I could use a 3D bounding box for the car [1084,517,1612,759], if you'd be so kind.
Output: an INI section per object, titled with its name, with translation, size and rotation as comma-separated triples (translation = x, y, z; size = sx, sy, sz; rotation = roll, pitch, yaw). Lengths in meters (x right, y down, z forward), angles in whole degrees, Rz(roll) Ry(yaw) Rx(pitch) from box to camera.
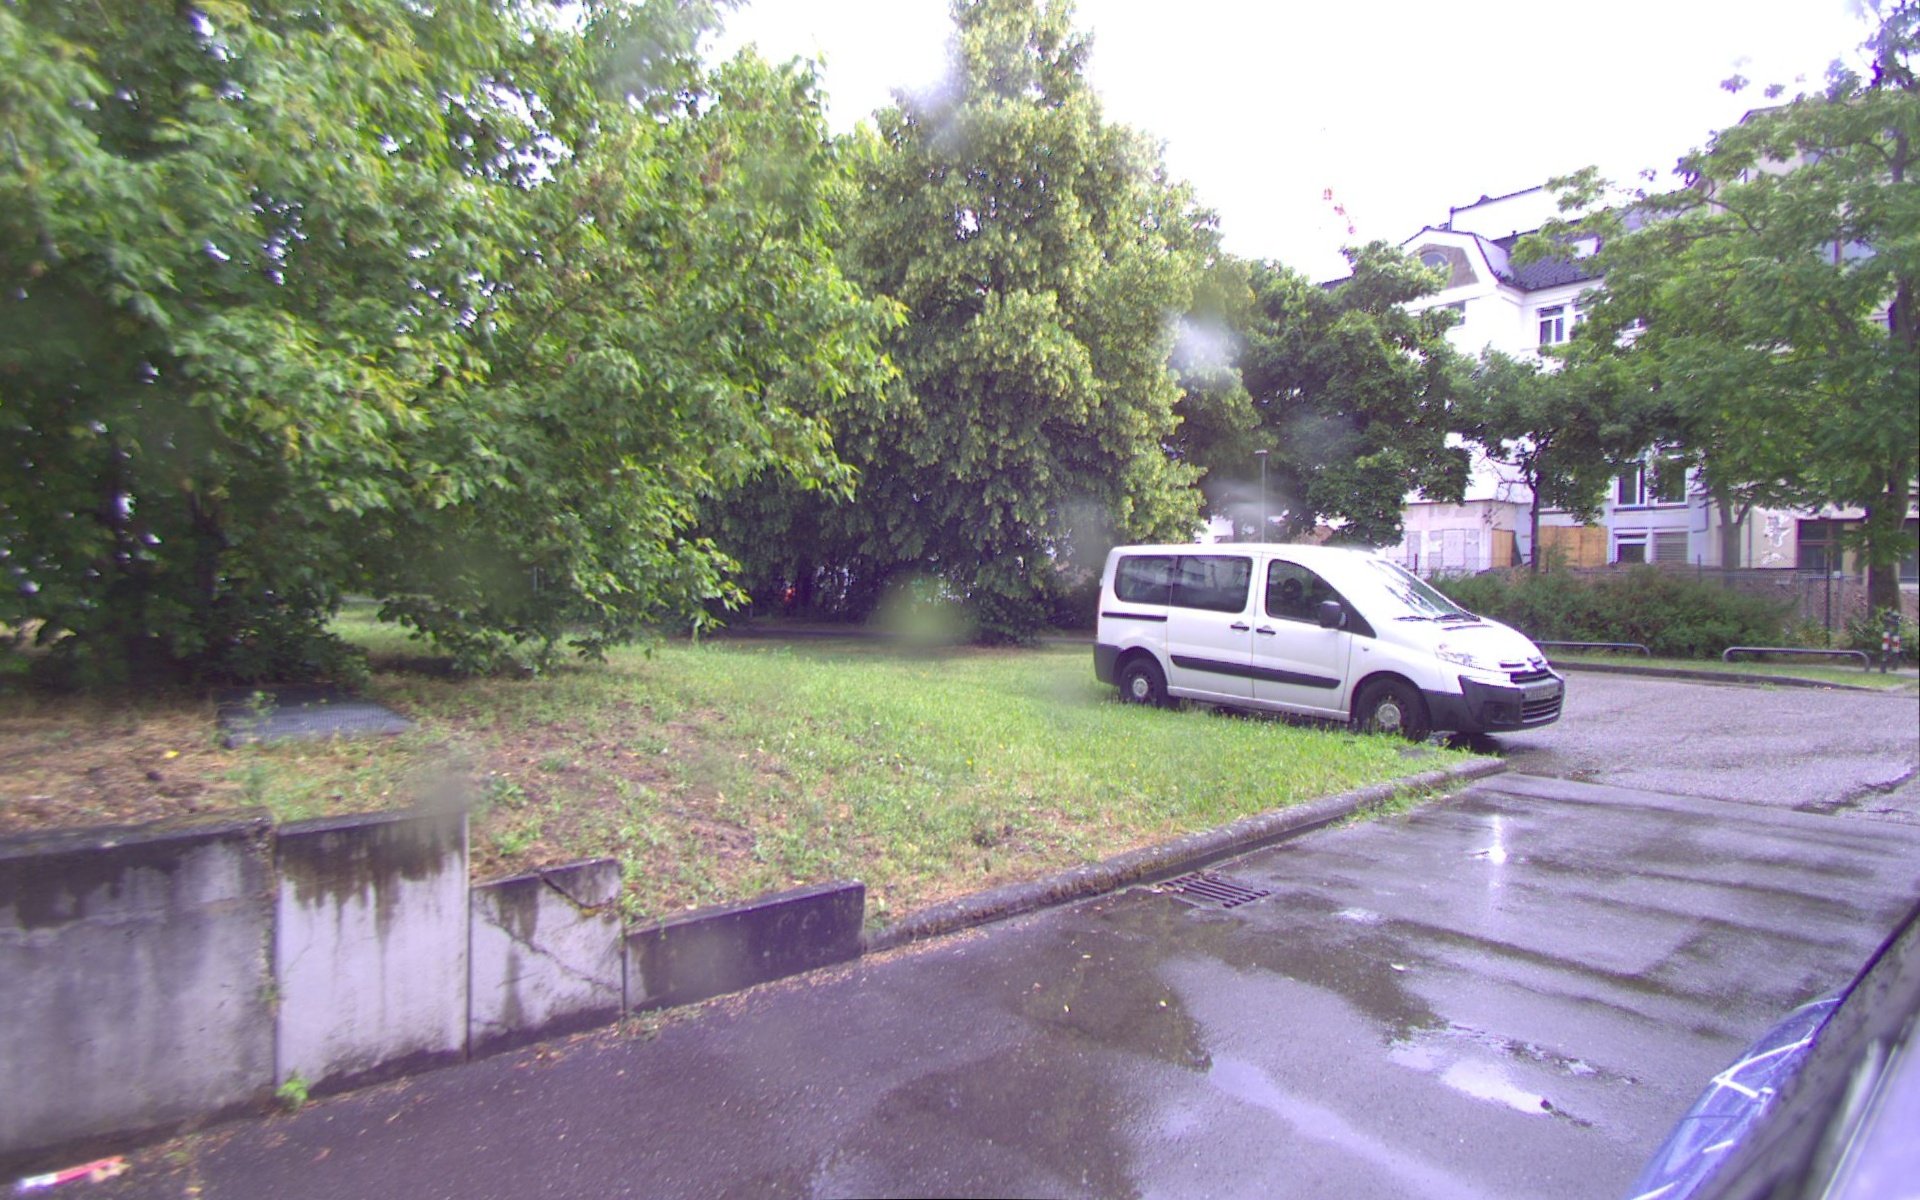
[car]
translation = 3.783, 0.271, 10.741
size = 2.061, 1.950, 4.886
rotation = -1, 1, -38
